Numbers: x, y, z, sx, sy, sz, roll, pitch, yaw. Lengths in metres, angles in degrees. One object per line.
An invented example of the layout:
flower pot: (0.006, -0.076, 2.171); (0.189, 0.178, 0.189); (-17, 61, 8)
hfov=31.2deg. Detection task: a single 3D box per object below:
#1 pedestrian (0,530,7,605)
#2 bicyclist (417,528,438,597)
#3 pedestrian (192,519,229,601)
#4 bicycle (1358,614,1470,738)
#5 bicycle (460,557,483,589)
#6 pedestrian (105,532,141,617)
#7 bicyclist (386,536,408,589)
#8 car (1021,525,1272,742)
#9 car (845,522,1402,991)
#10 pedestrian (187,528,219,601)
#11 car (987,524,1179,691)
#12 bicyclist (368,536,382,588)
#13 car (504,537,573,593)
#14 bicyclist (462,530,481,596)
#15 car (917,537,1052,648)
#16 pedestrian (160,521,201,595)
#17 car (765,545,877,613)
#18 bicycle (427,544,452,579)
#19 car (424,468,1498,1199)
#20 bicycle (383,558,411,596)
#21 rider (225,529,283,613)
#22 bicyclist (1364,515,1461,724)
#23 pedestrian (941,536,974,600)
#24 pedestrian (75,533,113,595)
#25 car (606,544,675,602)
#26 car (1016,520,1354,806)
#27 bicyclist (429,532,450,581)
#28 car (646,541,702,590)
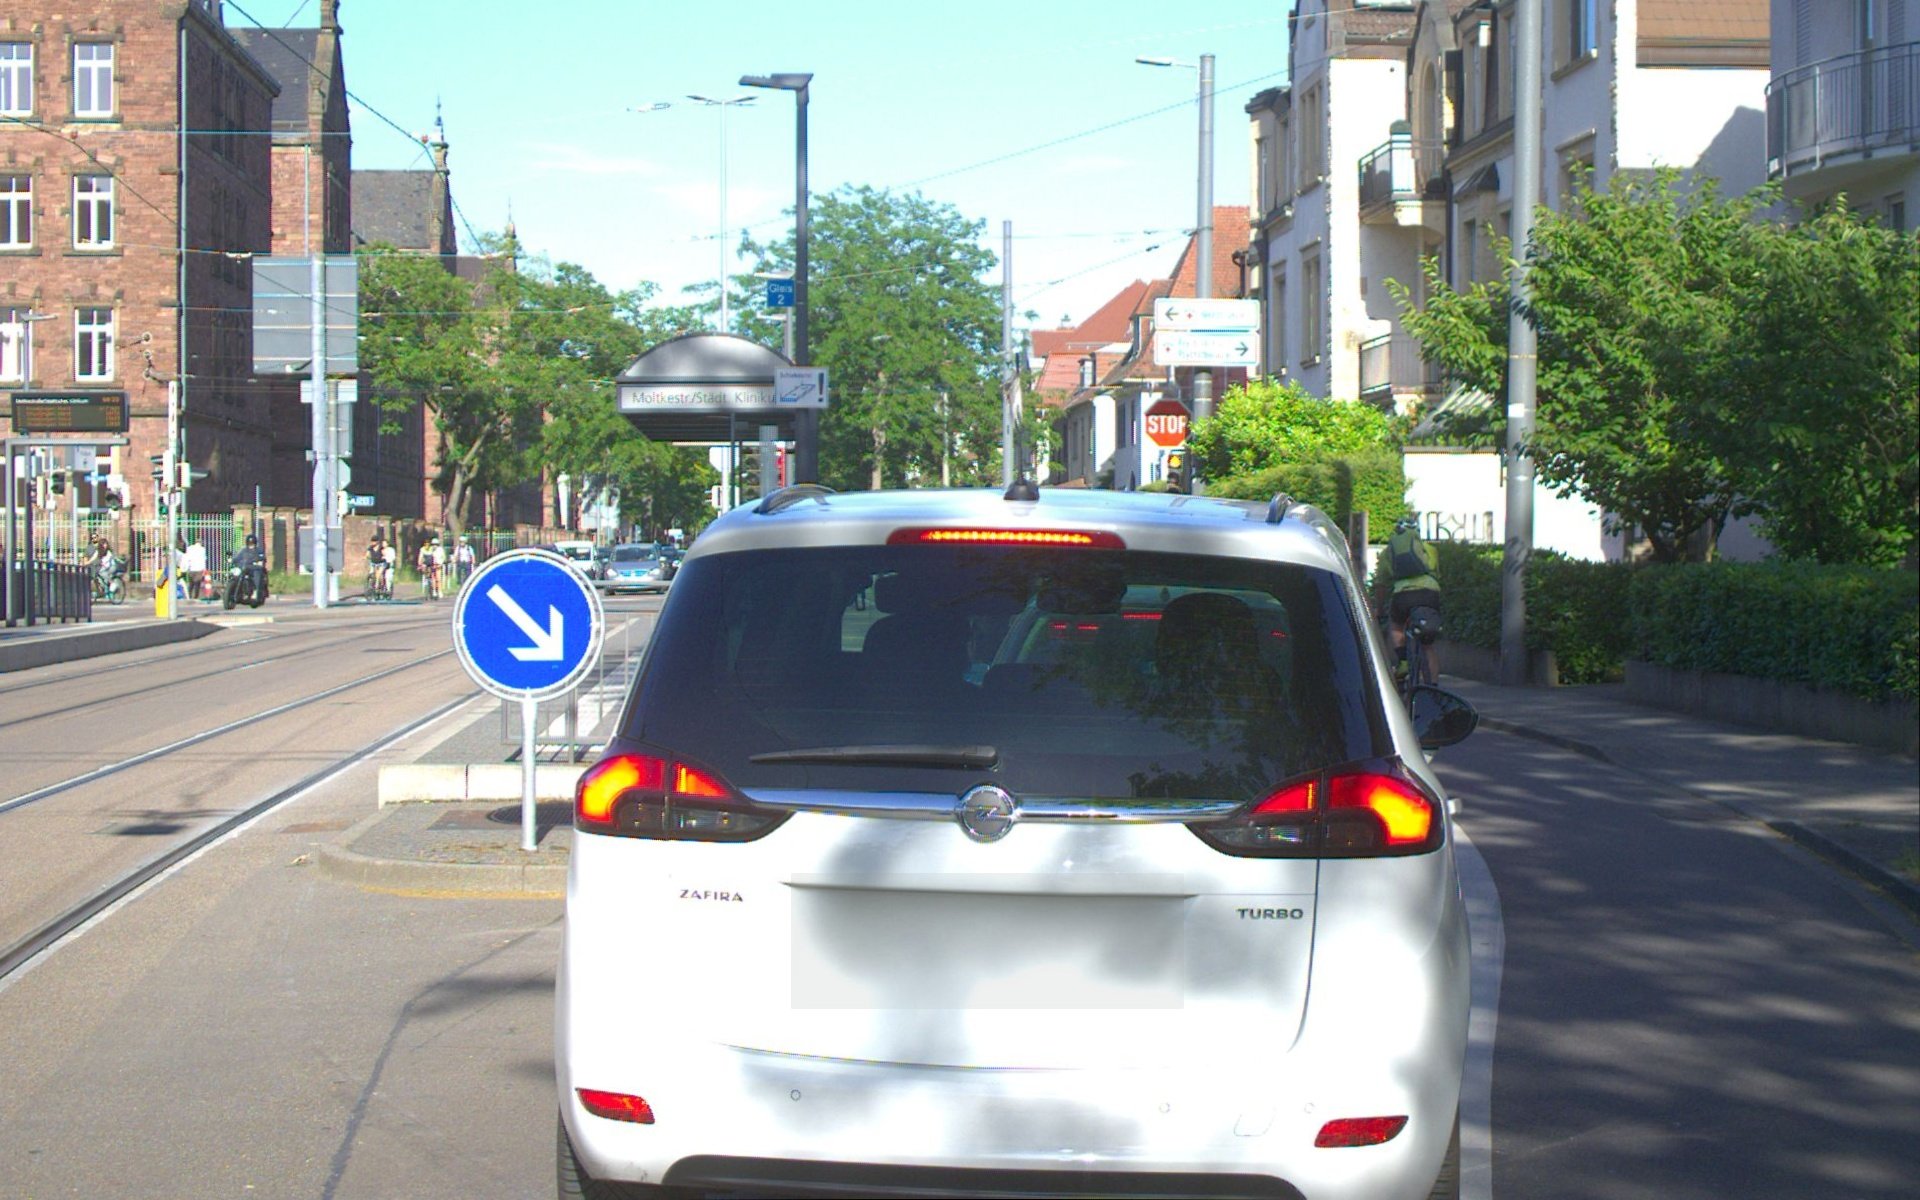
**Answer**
pedestrian: (-22.775, -0.765, 80.659); (0.766, 1.768, 0.721); (1, 0, -17)
bicyclist: (-15.545, -1.097, 100.295); (0.498, 2.007, 0.572); (1, 0, -1)
pedestrian: (-18.525, -0.998, 84.973); (0.794, 2.007, 0.721); (1, 0, -17)
bicycle: (3.635, 0.594, 27.638); (0.676, 0.922, 1.885); (0, 1, 1)
bicycle: (-14.997, -0.838, 105.581); (0.487, 0.968, 1.405); (1, 1, 0)
pedestrian: (-19.920, -0.606, 81.852); (0.794, 2.007, 1.047); (1, 0, -15)
bicyclist: (-15.985, -1.068, 97.590); (0.531, 1.472, 0.572); (1, 0, -1)
car: (1.568, 0.218, 28.272); (1.907, 1.656, 4.000); (0, 1, 4)
car: (0.783, 0.494, 13.772); (1.907, 1.592, 3.999); (0, 1, 7)
pedestrian: (-20.880, -0.975, 94.833); (0.689, 2.007, 0.617); (1, 0, 4)
car: (1.245, 0.037, 36.109); (1.907, 1.656, 4.000); (0, 1, 1)
bicyclist: (-15.997, -1.041, 94.018); (0.313, 1.439, 0.384); (1, 0, -1)
car: (-13.462, -1.118, 109.978); (1.746, 1.710, 4.000); (1, 1, -1)
bicyclist: (-14.995, -1.141, 105.540); (0.488, 2.007, 0.502); (1, 0, -1)
car: (0.341, -0.150, 53.086); (1.907, 1.656, 4.001); (0, 1, -2)
pedestrian: (-21.121, -1.138, 93.184); (0.720, 2.007, 0.796); (1, 0, 33)
car: (-3.614, -0.552, 88.756); (1.746, 1.710, 4.001); (1, 1, -20)
bicycle: (-15.913, -1.177, 105.222); (0.509, 1.073, 1.739); (1, 1, -1)
car: (0.216, 0.560, 8.061); (1.907, 1.656, 3.999); (0, 1, 7)
bicycle: (-15.998, -0.664, 97.668); (0.509, 1.073, 1.739); (1, 1, -1)
rider: (-15.217, -0.624, 74.157); (0.795, 1.776, 2.488); (1, 0, -1)
bicyclist: (3.627, 0.148, 27.610); (0.676, 1.652, 0.745); (0, 1, 0)
pedestrian: (-0.061, -0.963, 103.331); (0.808, 1.894, 0.743); (1, 0, 14)
pedestrian: (-22.655, -0.929, 89.937); (0.655, 1.606, 0.710); (1, 0, 33)
car: (-9.621, -0.822, 103.711); (1.746, 1.710, 4.000); (1, 1, -1)
car: (1.504, 0.320, 21.611); (1.907, 1.619, 3.999); (0, 1, 7)
bicyclist: (-15.932, -1.328, 105.275); (0.531, 1.472, 0.572); (1, 0, -1)
car: (-10.437, -1.265, 125.724); (1.746, 1.710, 4.000); (1, 1, -1)
